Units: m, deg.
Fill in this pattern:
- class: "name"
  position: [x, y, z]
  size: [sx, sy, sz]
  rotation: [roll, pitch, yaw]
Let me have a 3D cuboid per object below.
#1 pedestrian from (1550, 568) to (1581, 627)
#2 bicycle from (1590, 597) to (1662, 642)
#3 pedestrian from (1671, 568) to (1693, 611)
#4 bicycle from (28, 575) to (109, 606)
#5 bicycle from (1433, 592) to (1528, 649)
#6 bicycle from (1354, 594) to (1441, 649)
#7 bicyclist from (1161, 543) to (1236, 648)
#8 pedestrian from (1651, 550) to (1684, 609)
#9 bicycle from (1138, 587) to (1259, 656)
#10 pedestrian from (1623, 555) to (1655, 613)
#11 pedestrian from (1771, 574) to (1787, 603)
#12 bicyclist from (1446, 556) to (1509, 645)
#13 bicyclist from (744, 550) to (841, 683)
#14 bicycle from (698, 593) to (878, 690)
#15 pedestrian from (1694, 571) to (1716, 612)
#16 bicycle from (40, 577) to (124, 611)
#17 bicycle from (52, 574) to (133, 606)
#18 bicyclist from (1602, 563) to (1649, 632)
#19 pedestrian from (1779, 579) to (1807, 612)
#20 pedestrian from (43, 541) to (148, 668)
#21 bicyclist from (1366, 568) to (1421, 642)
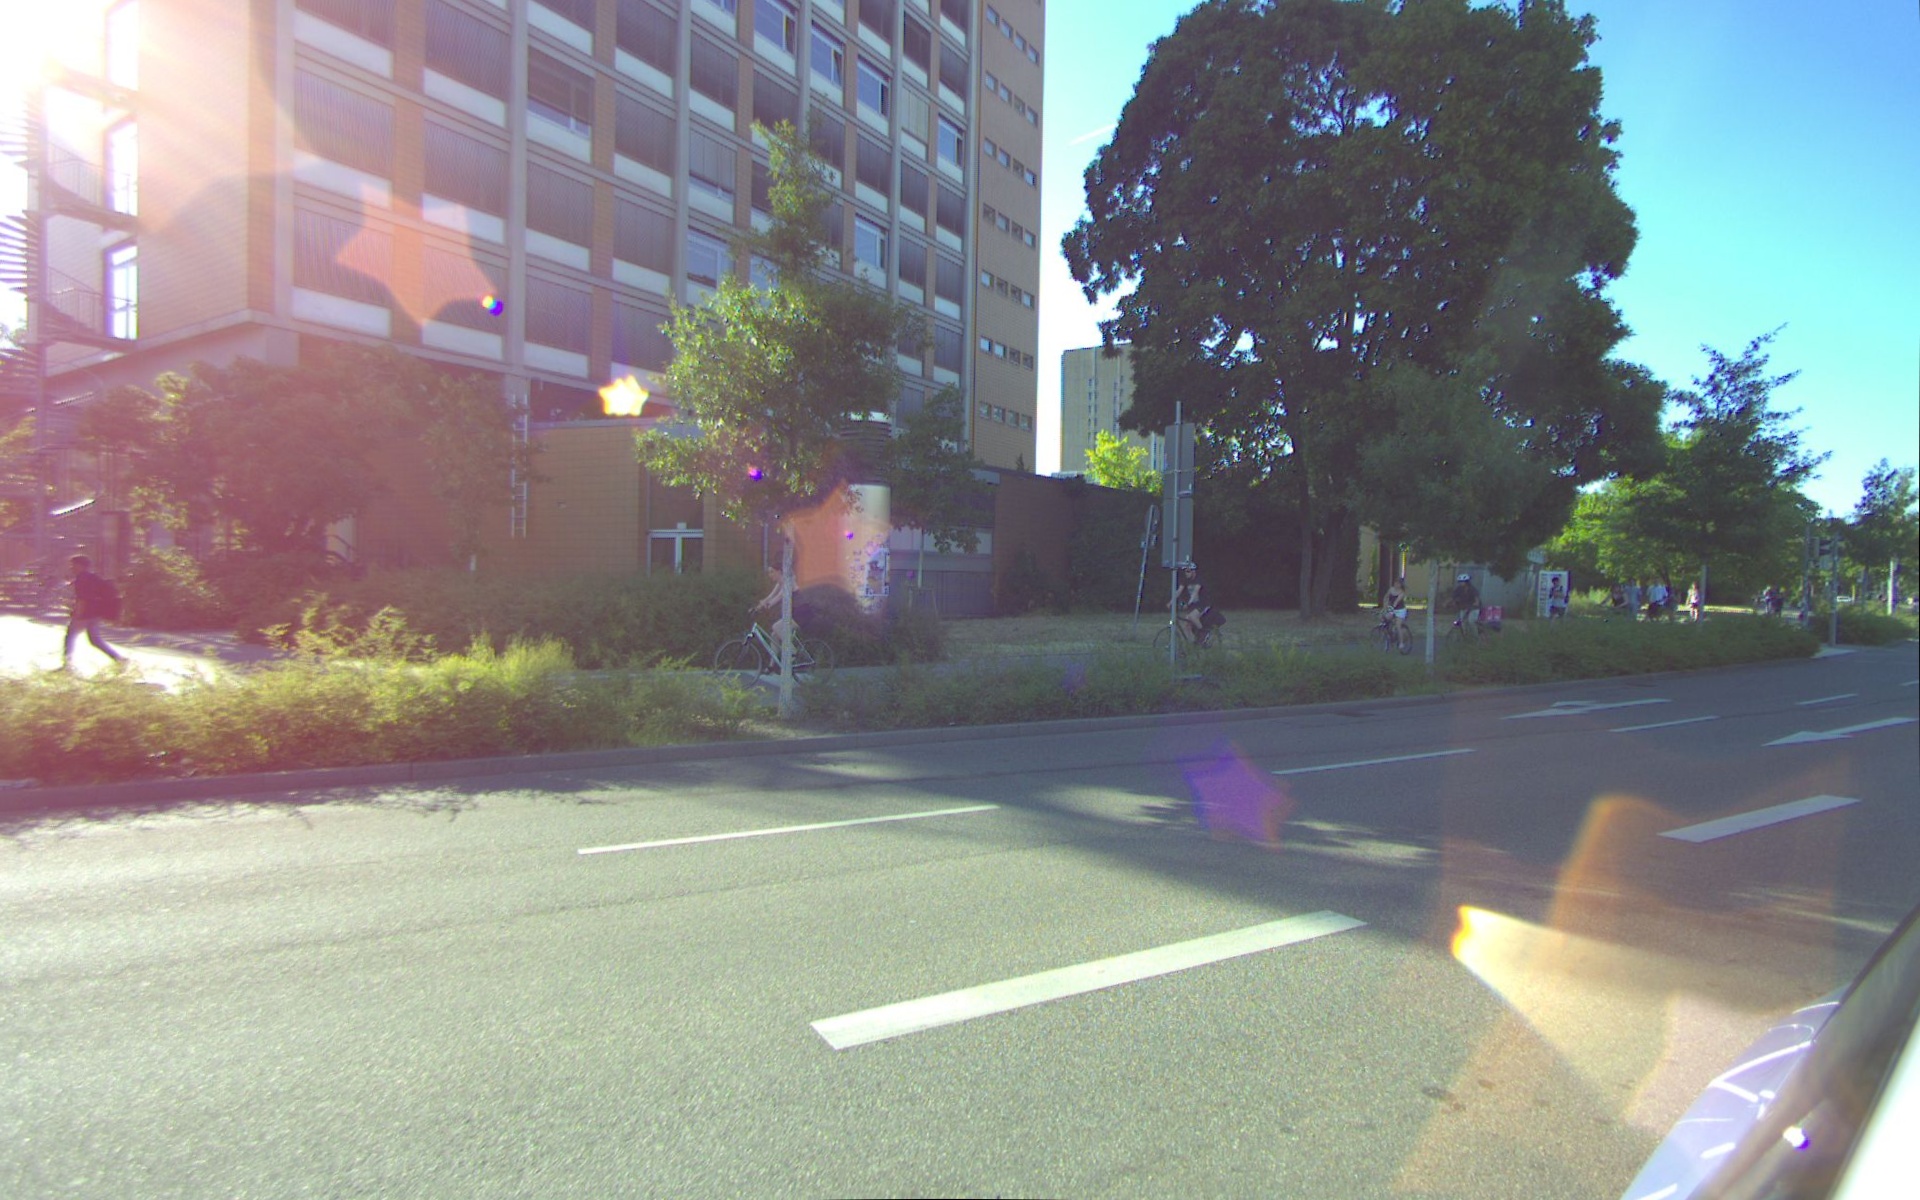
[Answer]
- class: "pedestrian"
  position: [18.059, -0.094, 30.179]
  size: [0.620, 1.720, 0.621]
  rotation: [0, 2, -44]
- class: "bicycle"
  position: [17.840, 0.504, 27.102]
  size: [2.025, 1.135, 0.720]
  rotation: [0, 0, -29]
- class: "pedestrian"
  position: [27.045, -0.403, 37.921]
  size: [0.619, 1.594, 0.631]
  rotation: [2, 1, 38]
- class: "bicycle"
  position: [-25.143, -0.276, 28.567]
  size: [0.525, 0.868, 1.635]
  rotation: [1, 1, 33]
- class: "bicycle"
  position: [11.292, 0.412, 21.909]
  size: [2.532, 1.170, 0.780]
  rotation: [0, 2, -37]
- class: "bicycle"
  position: [9.557, 0.469, 22.110]
  size: [1.830, 1.135, 0.720]
  rotation: [2, -1, -27]
- class: "bicyclist"
  position: [4.330, -0.095, 18.376]
  size: [1.072, 1.853, 0.781]
  rotation: [0, 1, -32]
- class: "pedestrian"
  position: [22.958, -0.677, 32.828]
  size: [0.610, 1.892, 0.577]
  rotation: [1, 1, -1]
- class: "bicycle"
  position: [4.360, 0.360, 18.415]
  size: [2.246, 1.170, 0.781]
  rotation: [0, 2, -33]
- class: "pedestrian"
  position: [22.453, -0.542, 33.481]
  size: [0.610, 1.892, 0.577]
  rotation: [1, 1, -1]
- class: "pedestrian"
  position: [49.817, -0.682, 61.549]
  size: [0.709, 1.734, 0.724]
  rotation: [2, 1, 38]
- class: "bicyclist"
  position: [11.139, -0.009, 21.800]
  size: [1.073, 1.856, 0.780]
  rotation: [0, 1, -36]
- class: "bicyclist"
  position: [-2.264, 0.198, 13.639]
  size: [1.071, 1.697, 0.782]
  rotation: [0, 4, -28]
- class: "bicycle"
  position: [-2.307, 0.521, 13.639]
  size: [2.244, 1.169, 0.782]
  rotation: [0, 4, -28]
- class: "pedestrian"
  position: [31.912, -0.381, 43.370]
  size: [0.671, 1.725, 0.867]
  rotation: [2, 1, 32]
- class: "bicycle"
  position: [-23.371, -0.168, 26.963]
  size: [0.525, 0.868, 1.635]
  rotation: [1, 1, 33]
- class: "bicycle"
  position: [-23.930, -0.285, 27.936]
  size: [0.525, 0.868, 1.635]
  rotation: [1, 1, 33]
- class: "bicyclist"
  position: [17.812, -0.059, 27.097]
  size: [0.832, 1.811, 0.718]
  rotation: [0, 0, -29]
- class: "pedestrian"
  position: [46.144, -0.236, 56.055]
  size: [1.011, 1.771, 0.840]
  rotation: [2, 2, 32]
- class: "pedestrian"
  position: [-11.816, 0.068, 13.861]
  size: [0.774, 1.680, 0.809]
  rotation: [0, -1, -10]
- class: "bicyclist"
  position: [9.441, 0.112, 22.046]
  size: [0.832, 1.568, 0.718]
  rotation: [2, -1, -26]
